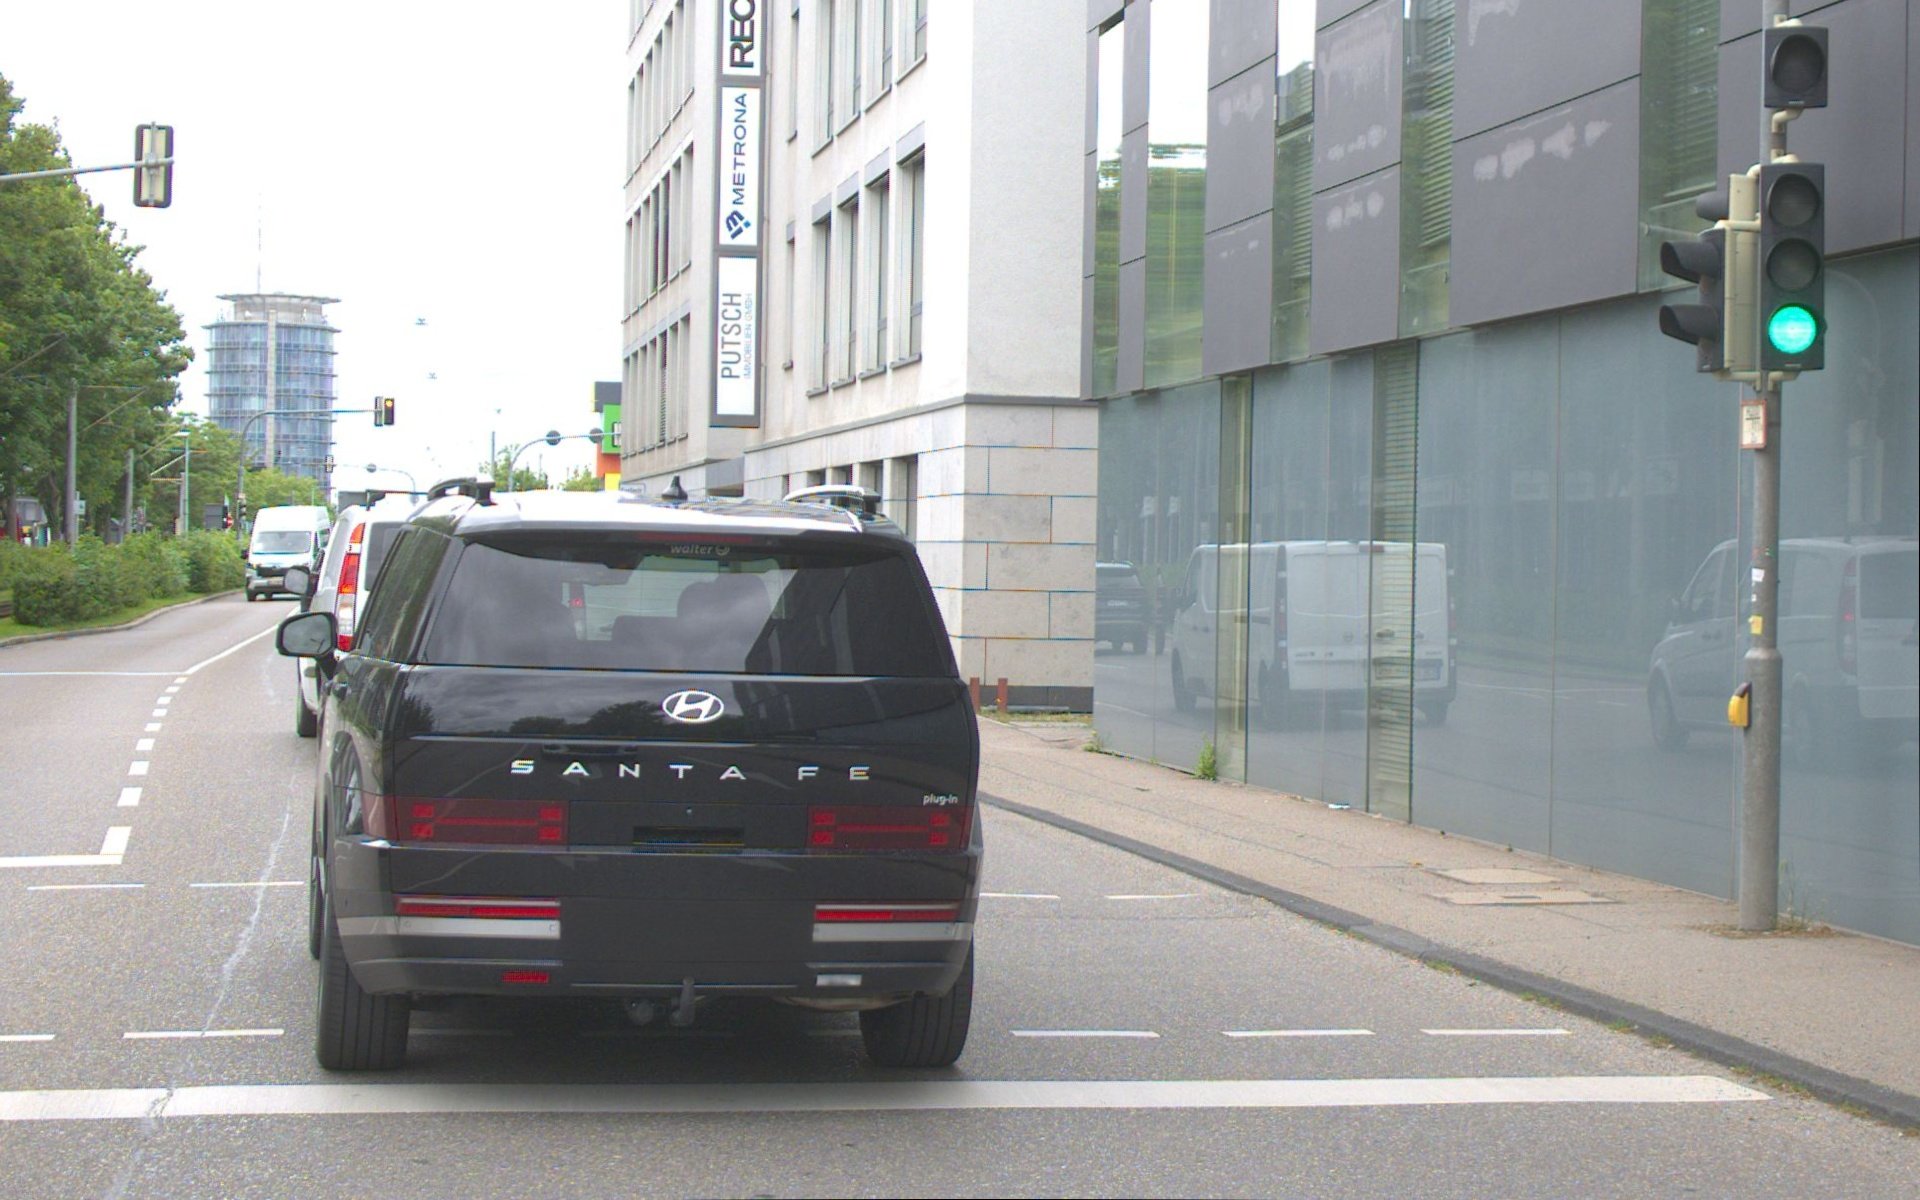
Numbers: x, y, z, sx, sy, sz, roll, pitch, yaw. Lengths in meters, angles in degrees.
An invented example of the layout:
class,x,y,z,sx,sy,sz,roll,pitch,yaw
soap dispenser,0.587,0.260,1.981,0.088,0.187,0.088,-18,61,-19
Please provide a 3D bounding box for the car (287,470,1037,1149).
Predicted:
class,x,y,z,sx,sy,sz,roll,pitch,yaw
car,-1.182,0.533,11.159,1.908,1.743,4.398,1,0,-11

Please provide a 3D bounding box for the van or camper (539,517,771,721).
class,x,y,z,sx,sy,sz,roll,pitch,yaw
van or camper,-3.216,0.157,35.457,1.993,1.909,4.333,2,1,-9

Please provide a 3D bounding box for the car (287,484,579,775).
class,x,y,z,sx,sy,sz,roll,pitch,yaw
car,-4.079,0.179,26.045,1.931,1.987,4.536,1,1,-11

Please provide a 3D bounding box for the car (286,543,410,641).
class,x,y,z,sx,sy,sz,roll,pitch,yaw
car,-10.533,-0.162,59.411,1.759,1.603,4.189,1,1,-6

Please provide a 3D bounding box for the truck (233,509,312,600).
class,x,y,z,sx,sy,sz,roll,pitch,yaw
truck,-20.350,-1.353,101.979,2.165,2.607,5.798,1,1,-10
